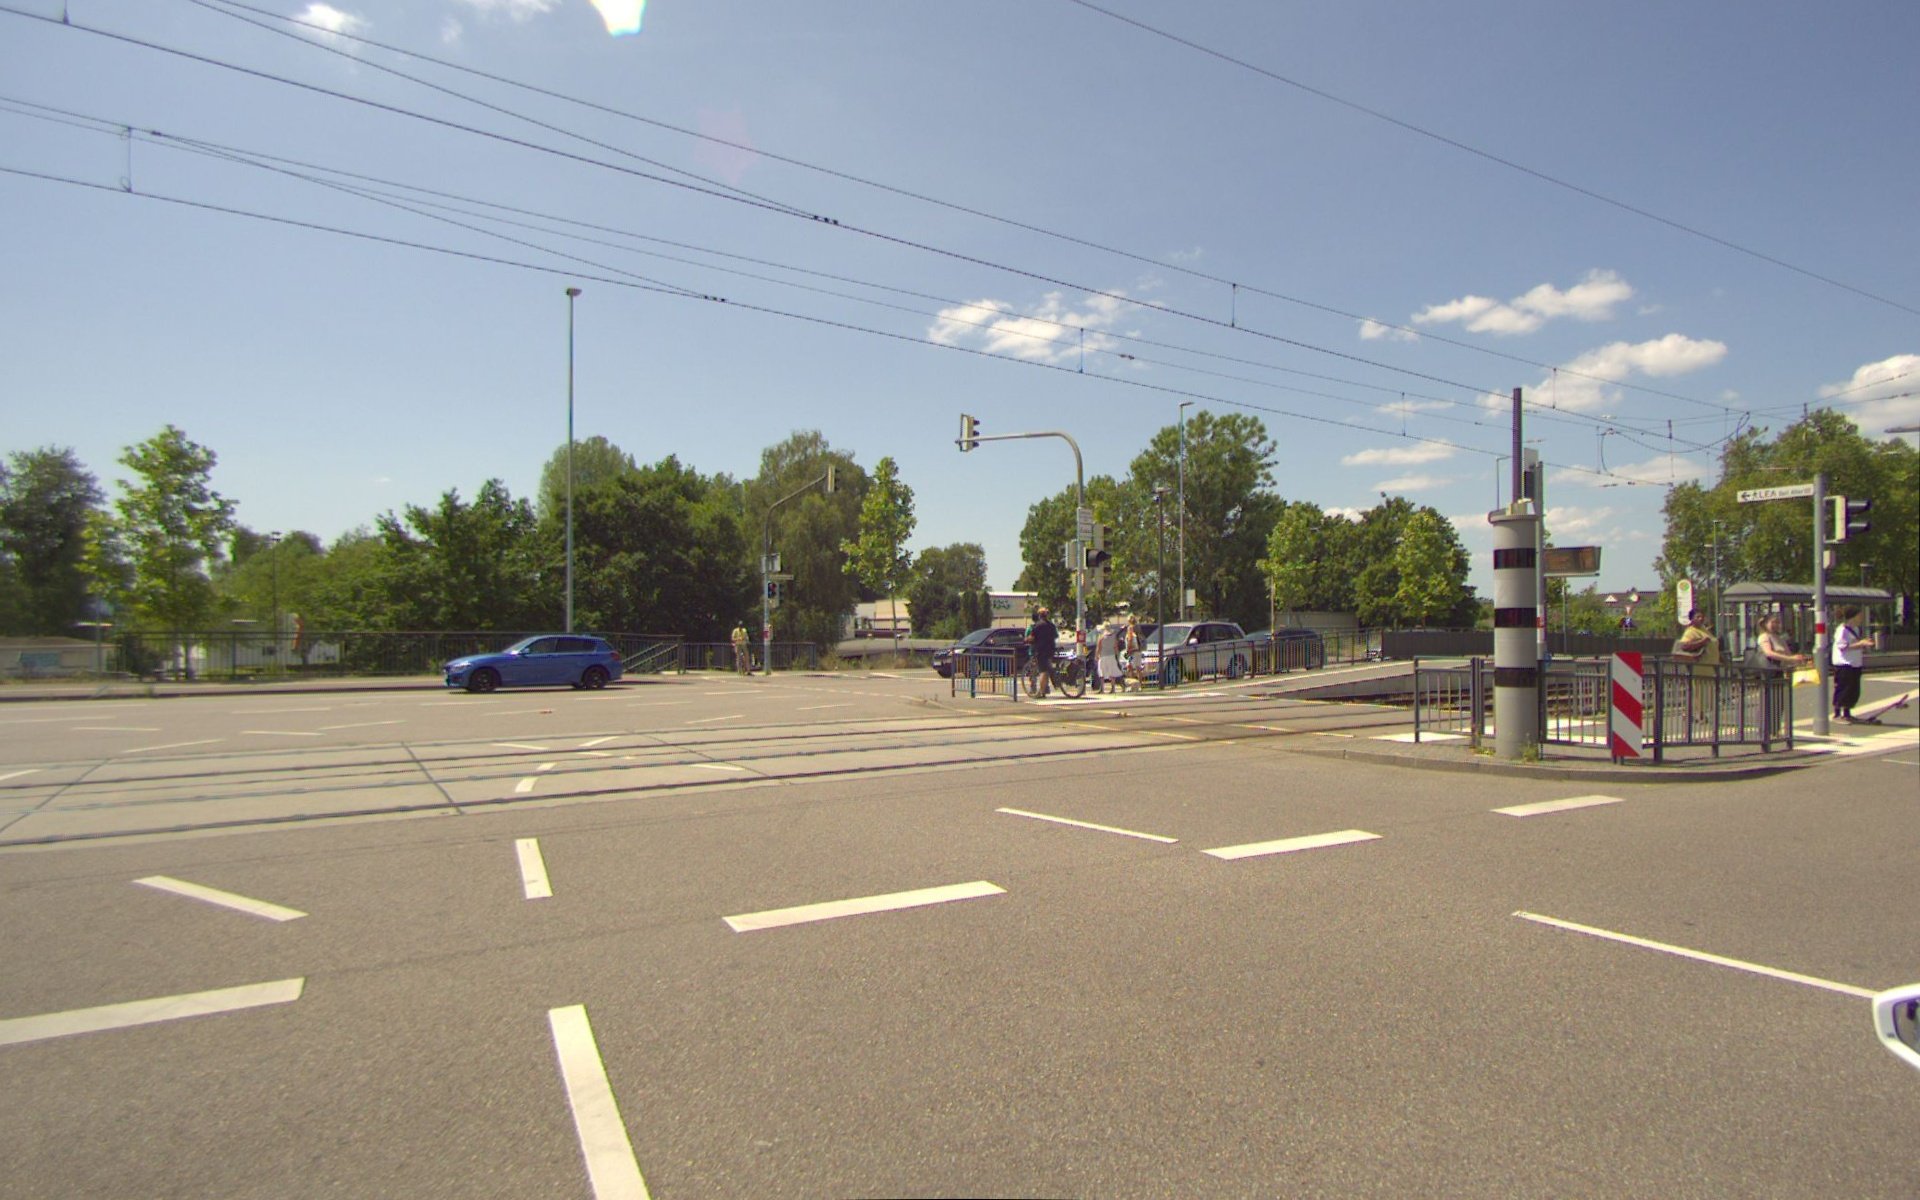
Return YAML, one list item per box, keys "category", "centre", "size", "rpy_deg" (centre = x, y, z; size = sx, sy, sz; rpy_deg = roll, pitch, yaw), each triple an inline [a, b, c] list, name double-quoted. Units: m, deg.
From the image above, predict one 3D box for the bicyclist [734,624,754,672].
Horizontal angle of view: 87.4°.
- category: "bicyclist"
  centre: [-7.423, 1.629, 34.554]
  size: [0.537, 1.631, 0.583]
  rpy_deg: [1, -1, -27]

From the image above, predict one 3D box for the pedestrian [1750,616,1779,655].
- category: "pedestrian"
  centre: [34.782, 1.541, 43.435]
  size: [0.567, 1.660, 0.828]
  rpy_deg: [0, -1, 4]

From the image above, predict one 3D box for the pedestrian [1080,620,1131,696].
- category: "pedestrian"
  centre: [3.123, 1.227, 21.550]
  size: [0.756, 1.569, 0.756]
  rpy_deg: [1, -1, -36]

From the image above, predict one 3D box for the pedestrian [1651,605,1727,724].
- category: "pedestrian"
  centre: [10.739, 0.929, 14.798]
  size: [0.672, 1.695, 0.727]
  rpy_deg: [1, 0, -37]

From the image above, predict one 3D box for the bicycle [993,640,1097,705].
- category: "bicycle"
  centre: [1.647, 1.385, 19.617]
  size: [1.949, 1.115, 0.760]
  rpy_deg: [1, 0, 42]

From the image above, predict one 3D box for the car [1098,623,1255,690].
- category: "car"
  centre: [5.893, 1.471, 27.271]
  size: [3.957, 1.650, 1.982]
  rpy_deg: [1, -1, -33]

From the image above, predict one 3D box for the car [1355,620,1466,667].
- category: "car"
  centre: [16.913, 1.613, 37.674]
  size: [3.957, 1.650, 1.982]
  rpy_deg: [1, 0, -33]

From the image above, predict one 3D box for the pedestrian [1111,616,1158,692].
- category: "pedestrian"
  centre: [3.969, 1.215, 22.870]
  size: [0.756, 1.694, 0.756]
  rpy_deg: [1, -1, -36]

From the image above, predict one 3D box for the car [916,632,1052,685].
- category: "car"
  centre: [0.835, 1.952, 34.306]
  size: [4.260, 1.651, 1.983]
  rpy_deg: [1, -1, -32]

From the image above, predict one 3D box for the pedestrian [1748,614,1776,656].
- category: "pedestrian"
  centre: [33.773, 1.456, 42.306]
  size: [0.567, 1.752, 0.739]
  rpy_deg: [0, -1, 4]

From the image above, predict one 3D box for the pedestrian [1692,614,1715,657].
- category: "pedestrian"
  centre: [29.279, 1.393, 39.559]
  size: [0.800, 1.660, 0.552]
  rpy_deg: [1, -1, -41]

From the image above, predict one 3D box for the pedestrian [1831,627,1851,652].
- category: "pedestrian"
  centre: [43.105, 1.920, 49.145]
  size: [0.632, 1.206, 0.573]
  rpy_deg: [1, -1, -33]

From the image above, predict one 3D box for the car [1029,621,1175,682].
- category: "car"
  centre: [4.190, 1.454, 29.513]
  size: [3.957, 1.650, 1.982]
  rpy_deg: [1, -1, -33]

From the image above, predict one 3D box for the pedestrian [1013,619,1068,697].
- category: "pedestrian"
  centre: [1.740, 1.228, 21.761]
  size: [0.756, 1.631, 0.950]
  rpy_deg: [1, -1, -36]

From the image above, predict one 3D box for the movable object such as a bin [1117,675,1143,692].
- category: "movable object such as a bin"
  centre: [3.785, 1.853, 22.358]
  size: [0.227, 0.325, 0.566]
  rpy_deg: [1, -1, -36]

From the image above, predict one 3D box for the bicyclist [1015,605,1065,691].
- category: "bicyclist"
  centre: [1.583, 0.929, 19.750]
  size: [0.656, 1.636, 0.730]
  rpy_deg: [1, 0, 41]

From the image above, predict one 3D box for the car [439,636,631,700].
- category: "car"
  centre: [-10.974, 1.694, 26.031]
  size: [4.306, 1.464, 1.981]
  rpy_deg: [1, -1, -35]

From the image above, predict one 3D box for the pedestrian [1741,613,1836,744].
- category: "pedestrian"
  centre: [10.628, 0.977, 12.891]
  size: [0.757, 1.593, 0.779]
  rpy_deg: [1, 0, -37]

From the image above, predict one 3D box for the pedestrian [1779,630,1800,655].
- category: "pedestrian"
  centre: [36.987, 1.891, 44.790]
  size: [0.632, 1.109, 0.573]
  rpy_deg: [1, -1, -33]

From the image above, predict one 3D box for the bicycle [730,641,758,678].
- category: "bicycle"
  centre: [-7.457, 2.028, 34.630]
  size: [0.582, 1.209, 1.525]
  rpy_deg: [1, -1, -26]

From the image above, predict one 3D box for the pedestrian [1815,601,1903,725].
- category: "pedestrian"
  centre: [13.832, 0.943, 15.458]
  size: [0.875, 1.826, 0.856]
  rpy_deg: [1, 0, -37]

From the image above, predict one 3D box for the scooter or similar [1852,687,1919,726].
- category: "scooter or similar"
  centre: [14.138, 1.617, 15.319]
  size: [0.453, 0.512, 0.721]
  rpy_deg: [1, -1, -36]

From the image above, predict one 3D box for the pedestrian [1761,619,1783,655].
- category: "pedestrian"
  centre: [35.411, 1.617, 43.806]
  size: [0.632, 1.553, 0.573]
  rpy_deg: [1, -1, -33]

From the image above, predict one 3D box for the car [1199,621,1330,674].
- category: "car"
  centre: [10.224, 1.555, 33.647]
  size: [4.234, 1.650, 1.982]
  rpy_deg: [1, -1, -33]
